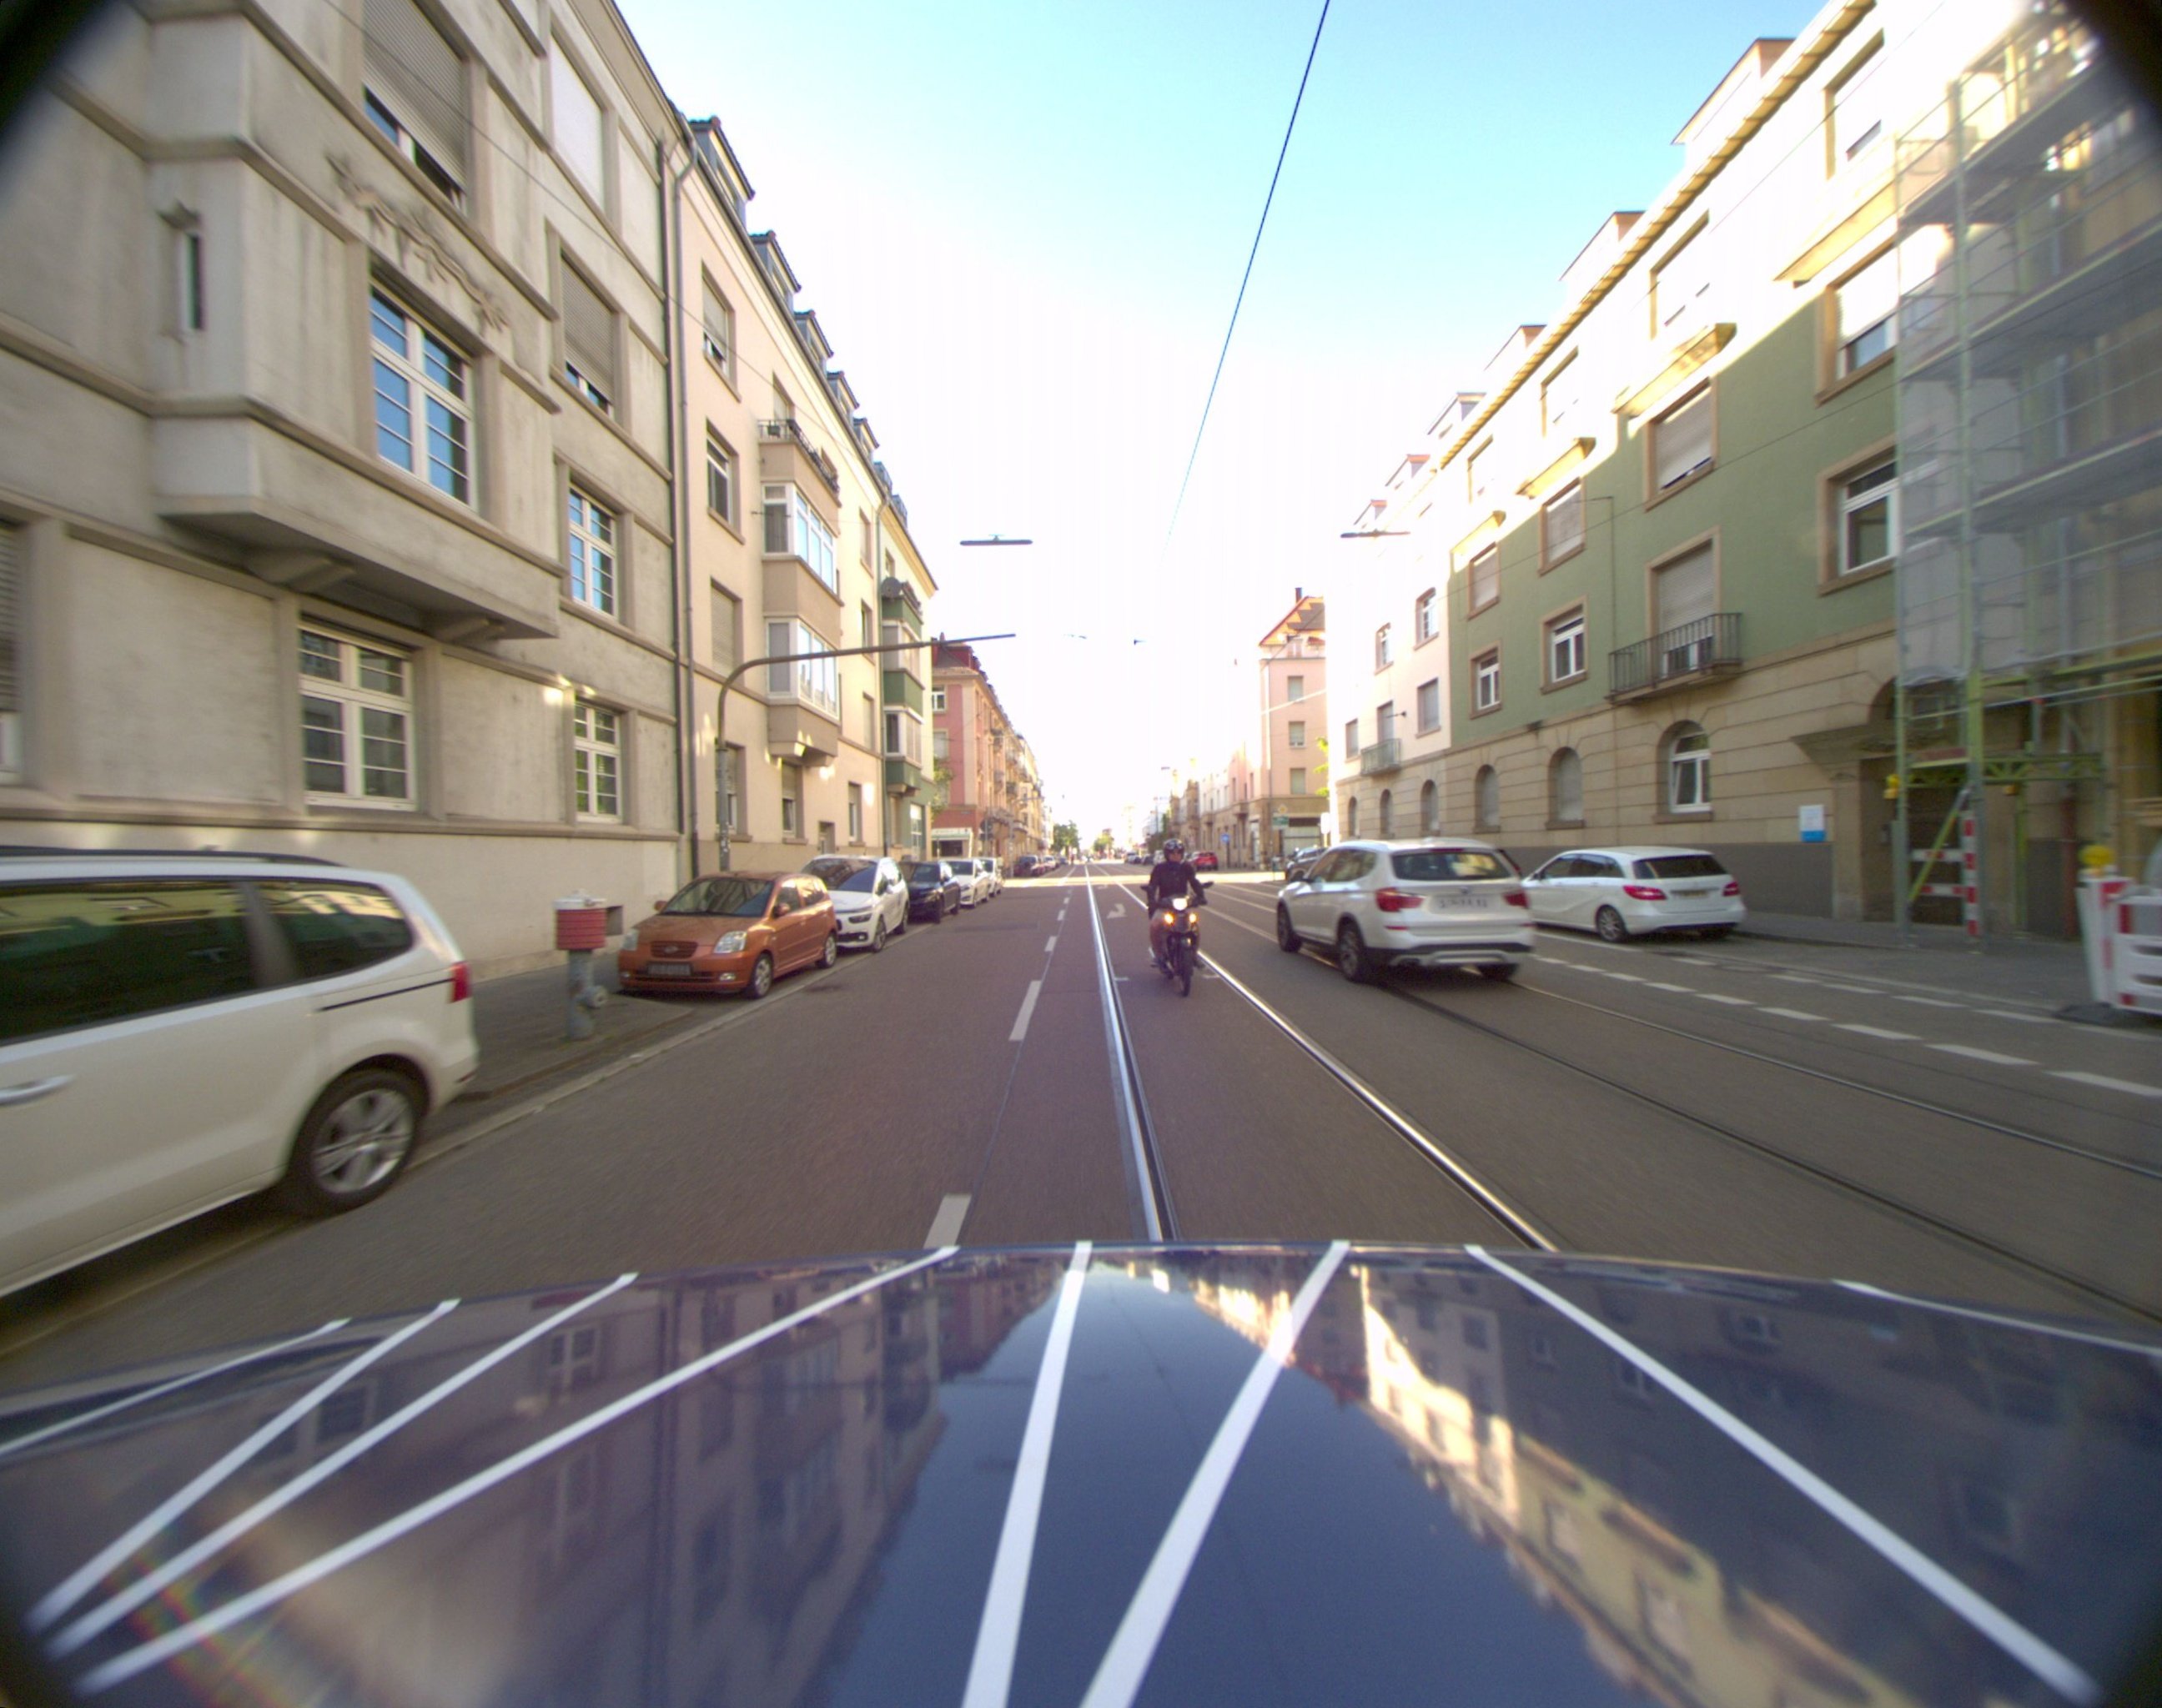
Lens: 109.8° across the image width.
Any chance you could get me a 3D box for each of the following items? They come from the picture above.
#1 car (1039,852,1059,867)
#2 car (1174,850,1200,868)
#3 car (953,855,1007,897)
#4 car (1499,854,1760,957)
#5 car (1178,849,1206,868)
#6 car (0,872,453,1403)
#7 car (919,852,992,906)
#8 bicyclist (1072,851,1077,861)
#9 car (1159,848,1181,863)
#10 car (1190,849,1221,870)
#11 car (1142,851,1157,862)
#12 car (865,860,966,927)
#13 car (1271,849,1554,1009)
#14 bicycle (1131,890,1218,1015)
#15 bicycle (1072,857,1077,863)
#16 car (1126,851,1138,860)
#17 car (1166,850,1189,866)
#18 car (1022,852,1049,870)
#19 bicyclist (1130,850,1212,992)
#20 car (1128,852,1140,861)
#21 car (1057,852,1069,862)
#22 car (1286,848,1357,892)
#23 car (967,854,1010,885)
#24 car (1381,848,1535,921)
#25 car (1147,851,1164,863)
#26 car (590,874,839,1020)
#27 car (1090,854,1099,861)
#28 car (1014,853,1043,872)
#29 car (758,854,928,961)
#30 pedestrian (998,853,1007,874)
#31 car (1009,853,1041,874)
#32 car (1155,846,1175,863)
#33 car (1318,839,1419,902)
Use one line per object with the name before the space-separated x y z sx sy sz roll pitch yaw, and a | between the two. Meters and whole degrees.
car | -3.574 0.583 85.734 1.998 1.630 4.000 -1 0 1
car | 9.933 0.467 71.280 1.798 1.494 3.769 -3 1 0
car | -4.055 0.847 30.959 1.703 1.581 3.354 0 0 0
car | 9.306 0.775 13.378 1.751 1.502 4.000 -1 0 1
car | 9.612 0.368 66.003 1.798 1.494 3.769 -3 1 0
car | -4.392 0.958 1.955 1.713 1.683 4.589 0 0 0
car | -4.052 0.749 25.119 1.703 1.581 3.960 -1 0 0
bicyclist | -0.952 0.322 114.796 0.744 1.481 0.816 -1 1 2
car | 9.551 0.134 81.650 1.798 1.494 3.769 -3 1 0
car | 9.909 0.395 60.792 1.798 1.494 3.769 -3 0 -1
car | 9.864 0.382 109.827 1.798 1.494 3.769 -3 0 -1
car | -4.228 0.963 20.004 1.703 1.496 3.863 -1 0 1
car | 3.890 0.749 9.827 1.772 1.598 4.293 -1 0 0
bicycle | 1.019 1.054 8.752 0.740 1.170 1.974 -1 1 0
bicycle | -0.961 0.846 114.689 0.744 0.850 1.886 -1 0 2
car | 9.430 0.323 139.648 1.798 1.494 3.769 -3 0 -1
car | 9.681 0.383 76.592 1.798 1.494 3.769 -3 1 0
car | -3.905 0.590 65.098 1.998 1.455 4.000 -1 0 1
bicyclist | 1.015 0.739 8.756 0.843 1.545 0.850 -1 1 1
car | 9.306 0.406 133.955 1.798 1.494 3.769 -3 0 -1
car | -3.341 0.567 143.154 1.998 1.674 4.000 -1 0 1
car | 9.474 0.571 30.222 1.798 1.601 3.770 -1 0 3
car | -4.645 0.745 38.689 1.703 1.465 3.779 0 0 0
car | 9.354 0.675 19.261 1.702 1.569 4.222 -3 0 -1
car | 9.943 0.386 101.803 1.798 1.494 3.769 -3 0 -1
car | -4.530 1.061 9.964 1.570 1.475 3.365 0 0 1
car | 3.133 0.881 177.742 1.998 1.587 4.000 -1 0 0
car | -4.135 0.622 60.046 1.998 1.412 3.727 -1 0 1
car | -4.265 0.869 14.335 1.702 1.688 4.188 0 0 3
pedestrian | -5.502 0.657 53.391 0.526 1.483 0.491 -1 1 1
car | -4.081 0.677 55.745 1.998 1.412 3.727 -1 0 1
car | 10.029 0.090 91.307 1.998 2.002 4.000 -1 0 0
car | 9.413 0.481 25.220 1.798 1.836 3.769 -3 0 -1
